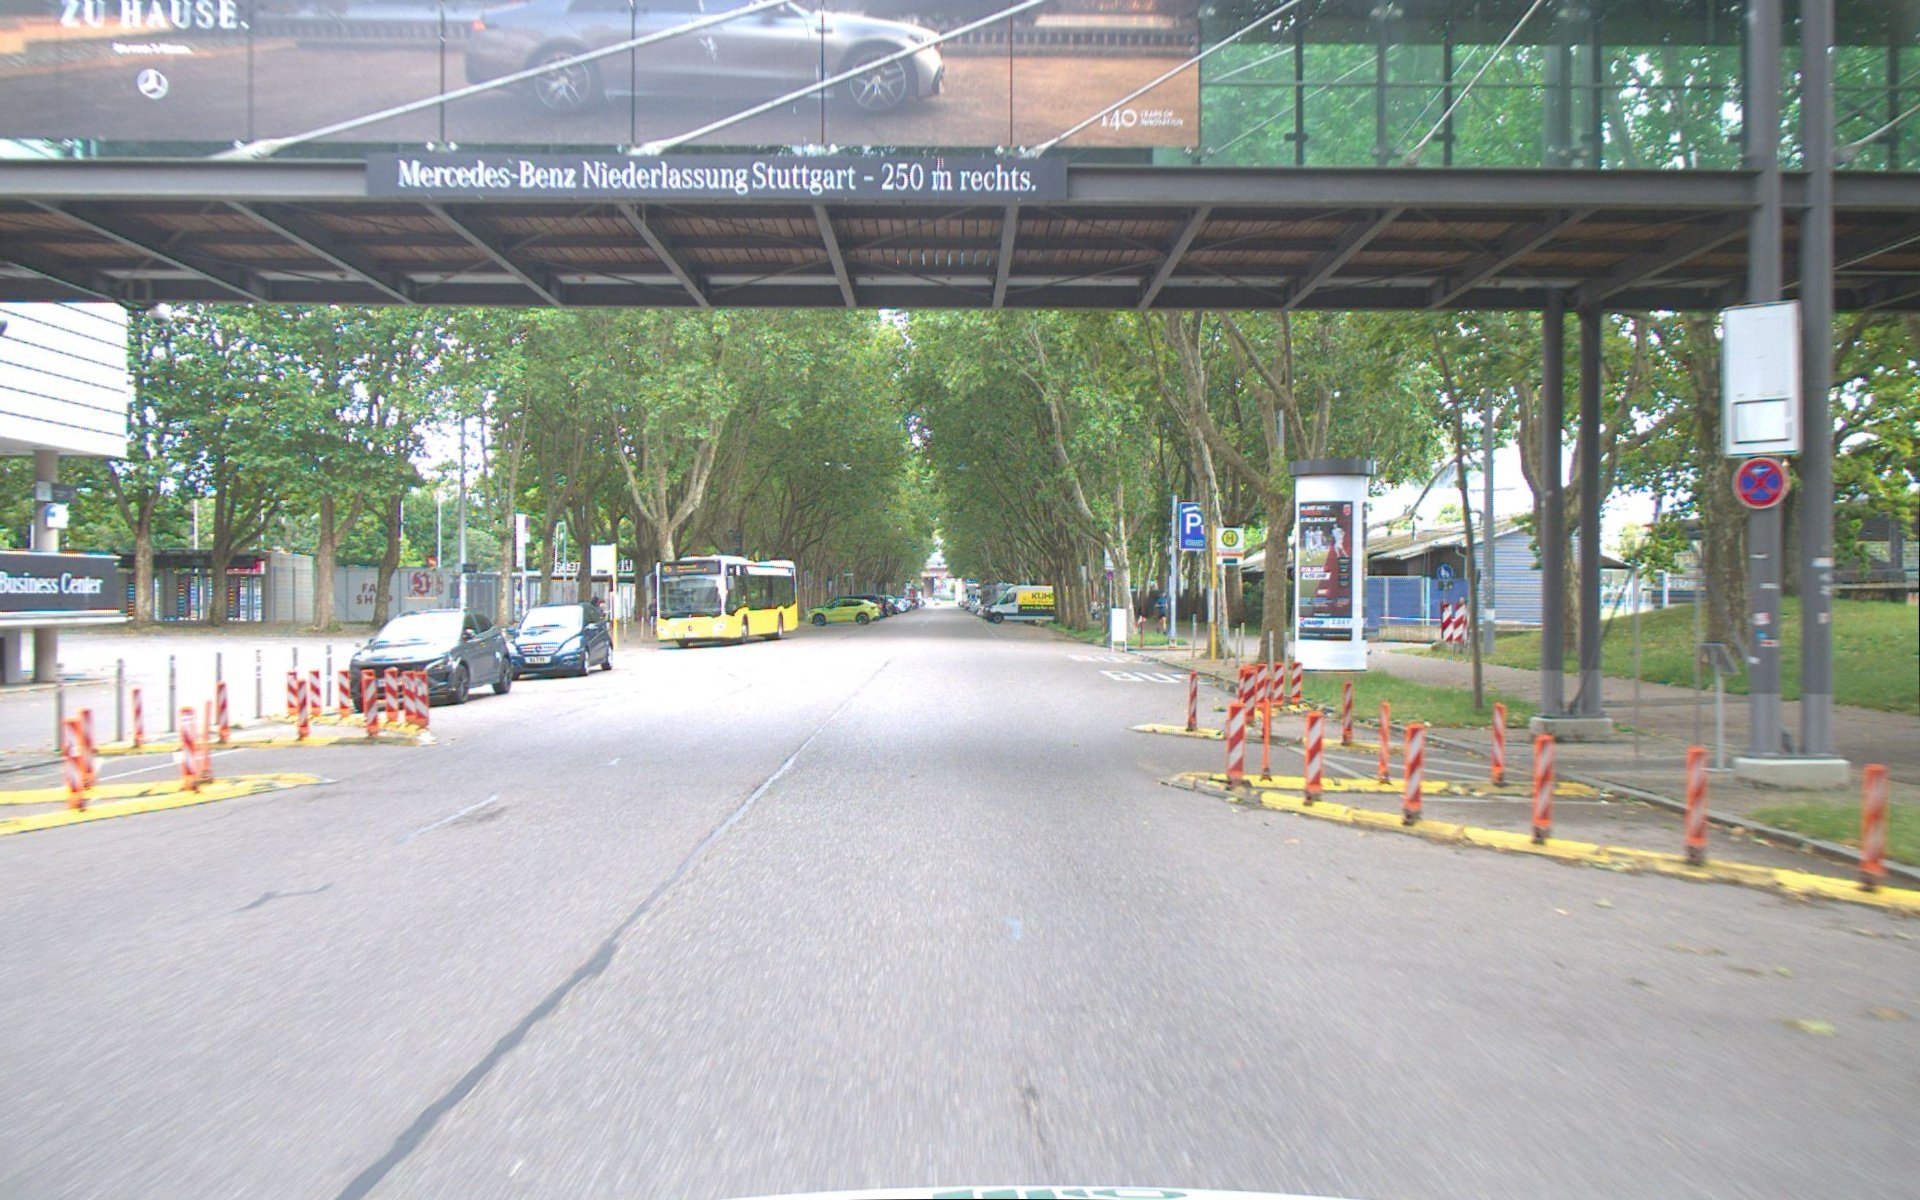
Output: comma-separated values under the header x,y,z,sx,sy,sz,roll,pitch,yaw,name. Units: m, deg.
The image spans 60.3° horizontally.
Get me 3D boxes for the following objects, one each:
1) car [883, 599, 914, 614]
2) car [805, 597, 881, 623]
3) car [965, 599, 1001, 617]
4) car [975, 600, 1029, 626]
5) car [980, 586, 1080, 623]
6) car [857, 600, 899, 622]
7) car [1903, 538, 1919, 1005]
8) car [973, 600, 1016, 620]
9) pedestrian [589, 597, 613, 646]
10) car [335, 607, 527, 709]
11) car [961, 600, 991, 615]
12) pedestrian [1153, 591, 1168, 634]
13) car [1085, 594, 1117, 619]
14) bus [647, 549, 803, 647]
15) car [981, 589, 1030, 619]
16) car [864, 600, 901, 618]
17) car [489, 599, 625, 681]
x,y,z,sx,sy,sz,roll,pitch,yaw,name
-8.098,0.891,217.749,3.905,2.004,2.000,0,0,0,car
-7.341,0.628,103.812,4.603,1.612,1.864,0,0,0,car
2.298,0.785,167.078,3.548,1.825,1.542,0,0,-1,car
3.078,0.943,121.294,3.906,1.825,1.542,0,0,-1,car
4.778,0.298,113.864,6.686,2.557,2.315,0,0,-3,car
-7.303,0.975,147.604,3.584,1.896,1.625,0,0,2,car
4.659,0.685,3.949,1.809,1.814,5.210,1,0,0,car
3.203,0.907,152.525,3.906,1.825,1.542,0,0,-1,car
-11.980,0.715,55.217,0.659,1.632,0.606,0,0,-26,pedestrian
-8.991,0.931,28.499,1.820,1.478,4.448,-3,0,0,car
2.146,0.972,217.635,3.905,1.894,1.637,0,0,0,car
9.057,0.572,74.690,0.562,1.921,0.616,0,0,-9,pedestrian
10.131,0.479,119.327,1.953,1.803,4.000,0,0,0,car
-8.543,-0.057,62.165,2.974,3.215,12.684,-2,0,5,bus
3.619,0.344,131.942,3.906,2.380,1.542,0,0,-1,car
-7.776,0.909,166.742,3.584,1.772,1.507,0,0,2,car
-8.908,0.847,36.892,1.953,1.612,4.113,-3,0,0,car
